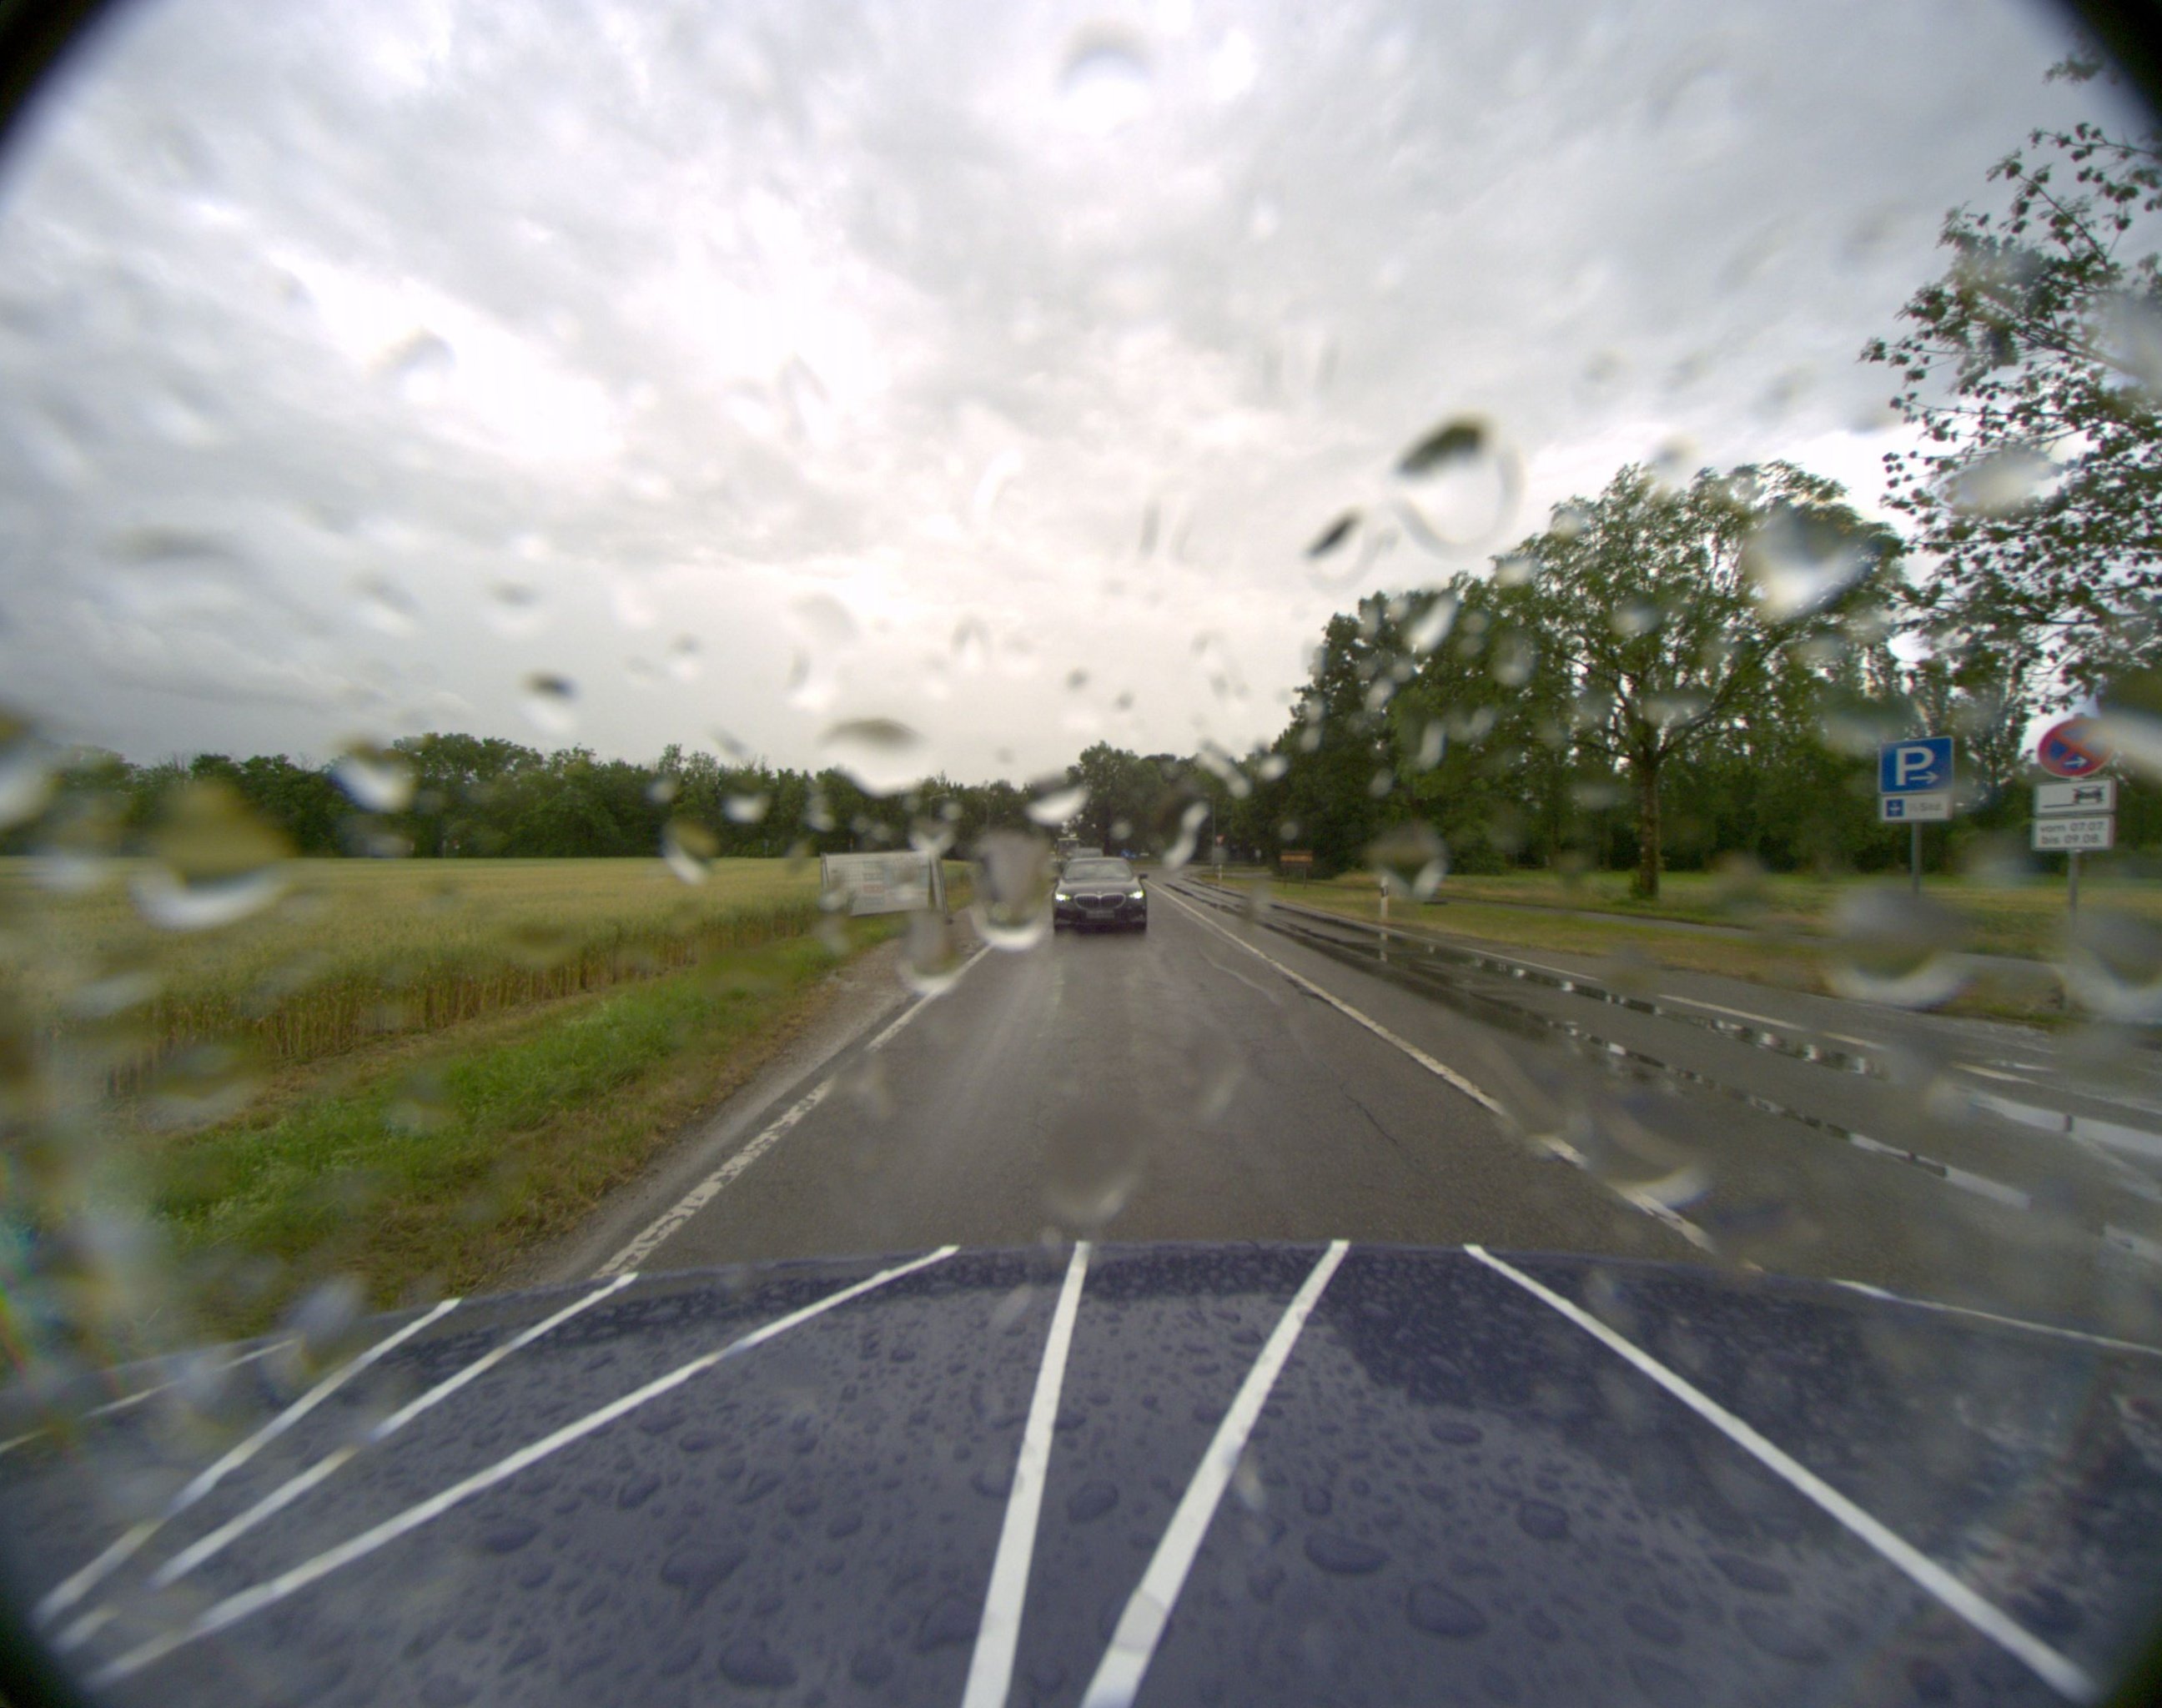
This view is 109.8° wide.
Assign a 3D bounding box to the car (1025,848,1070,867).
[{"bbox_3d":[-2.916,0.325,64.557,1.896,1.522,4.491,-2,0,-30],"label":"car"}]

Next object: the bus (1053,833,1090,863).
[{"bbox_3d":[-1.124,-0.797,100.559,2.994,3.665,14.301,1,0,7],"label":"bus"}]

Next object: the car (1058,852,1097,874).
[{"bbox_3d":[-0.331,0.667,57.295,1.894,1.522,5.249,-1,0,-12],"label":"car"}]

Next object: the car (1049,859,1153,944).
[{"bbox_3d":[0.393,0.889,16.009,1.891,1.484,4.035,-1,0,1],"label":"car"}]

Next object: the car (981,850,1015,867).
[{"bbox_3d":[-8.033,0.407,73.398,1.895,1.522,4.493,-1,0,-25],"label":"car"}]

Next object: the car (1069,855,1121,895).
[{"bbox_3d":[0.550,0.830,30.791,1.891,1.482,4.192,-2,-1,1],"label":"car"}]

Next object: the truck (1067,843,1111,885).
[{"bbox_3d":[0.377,0.496,43.533,2.076,2.050,5.766,-4,2,-3],"label":"truck"}]
